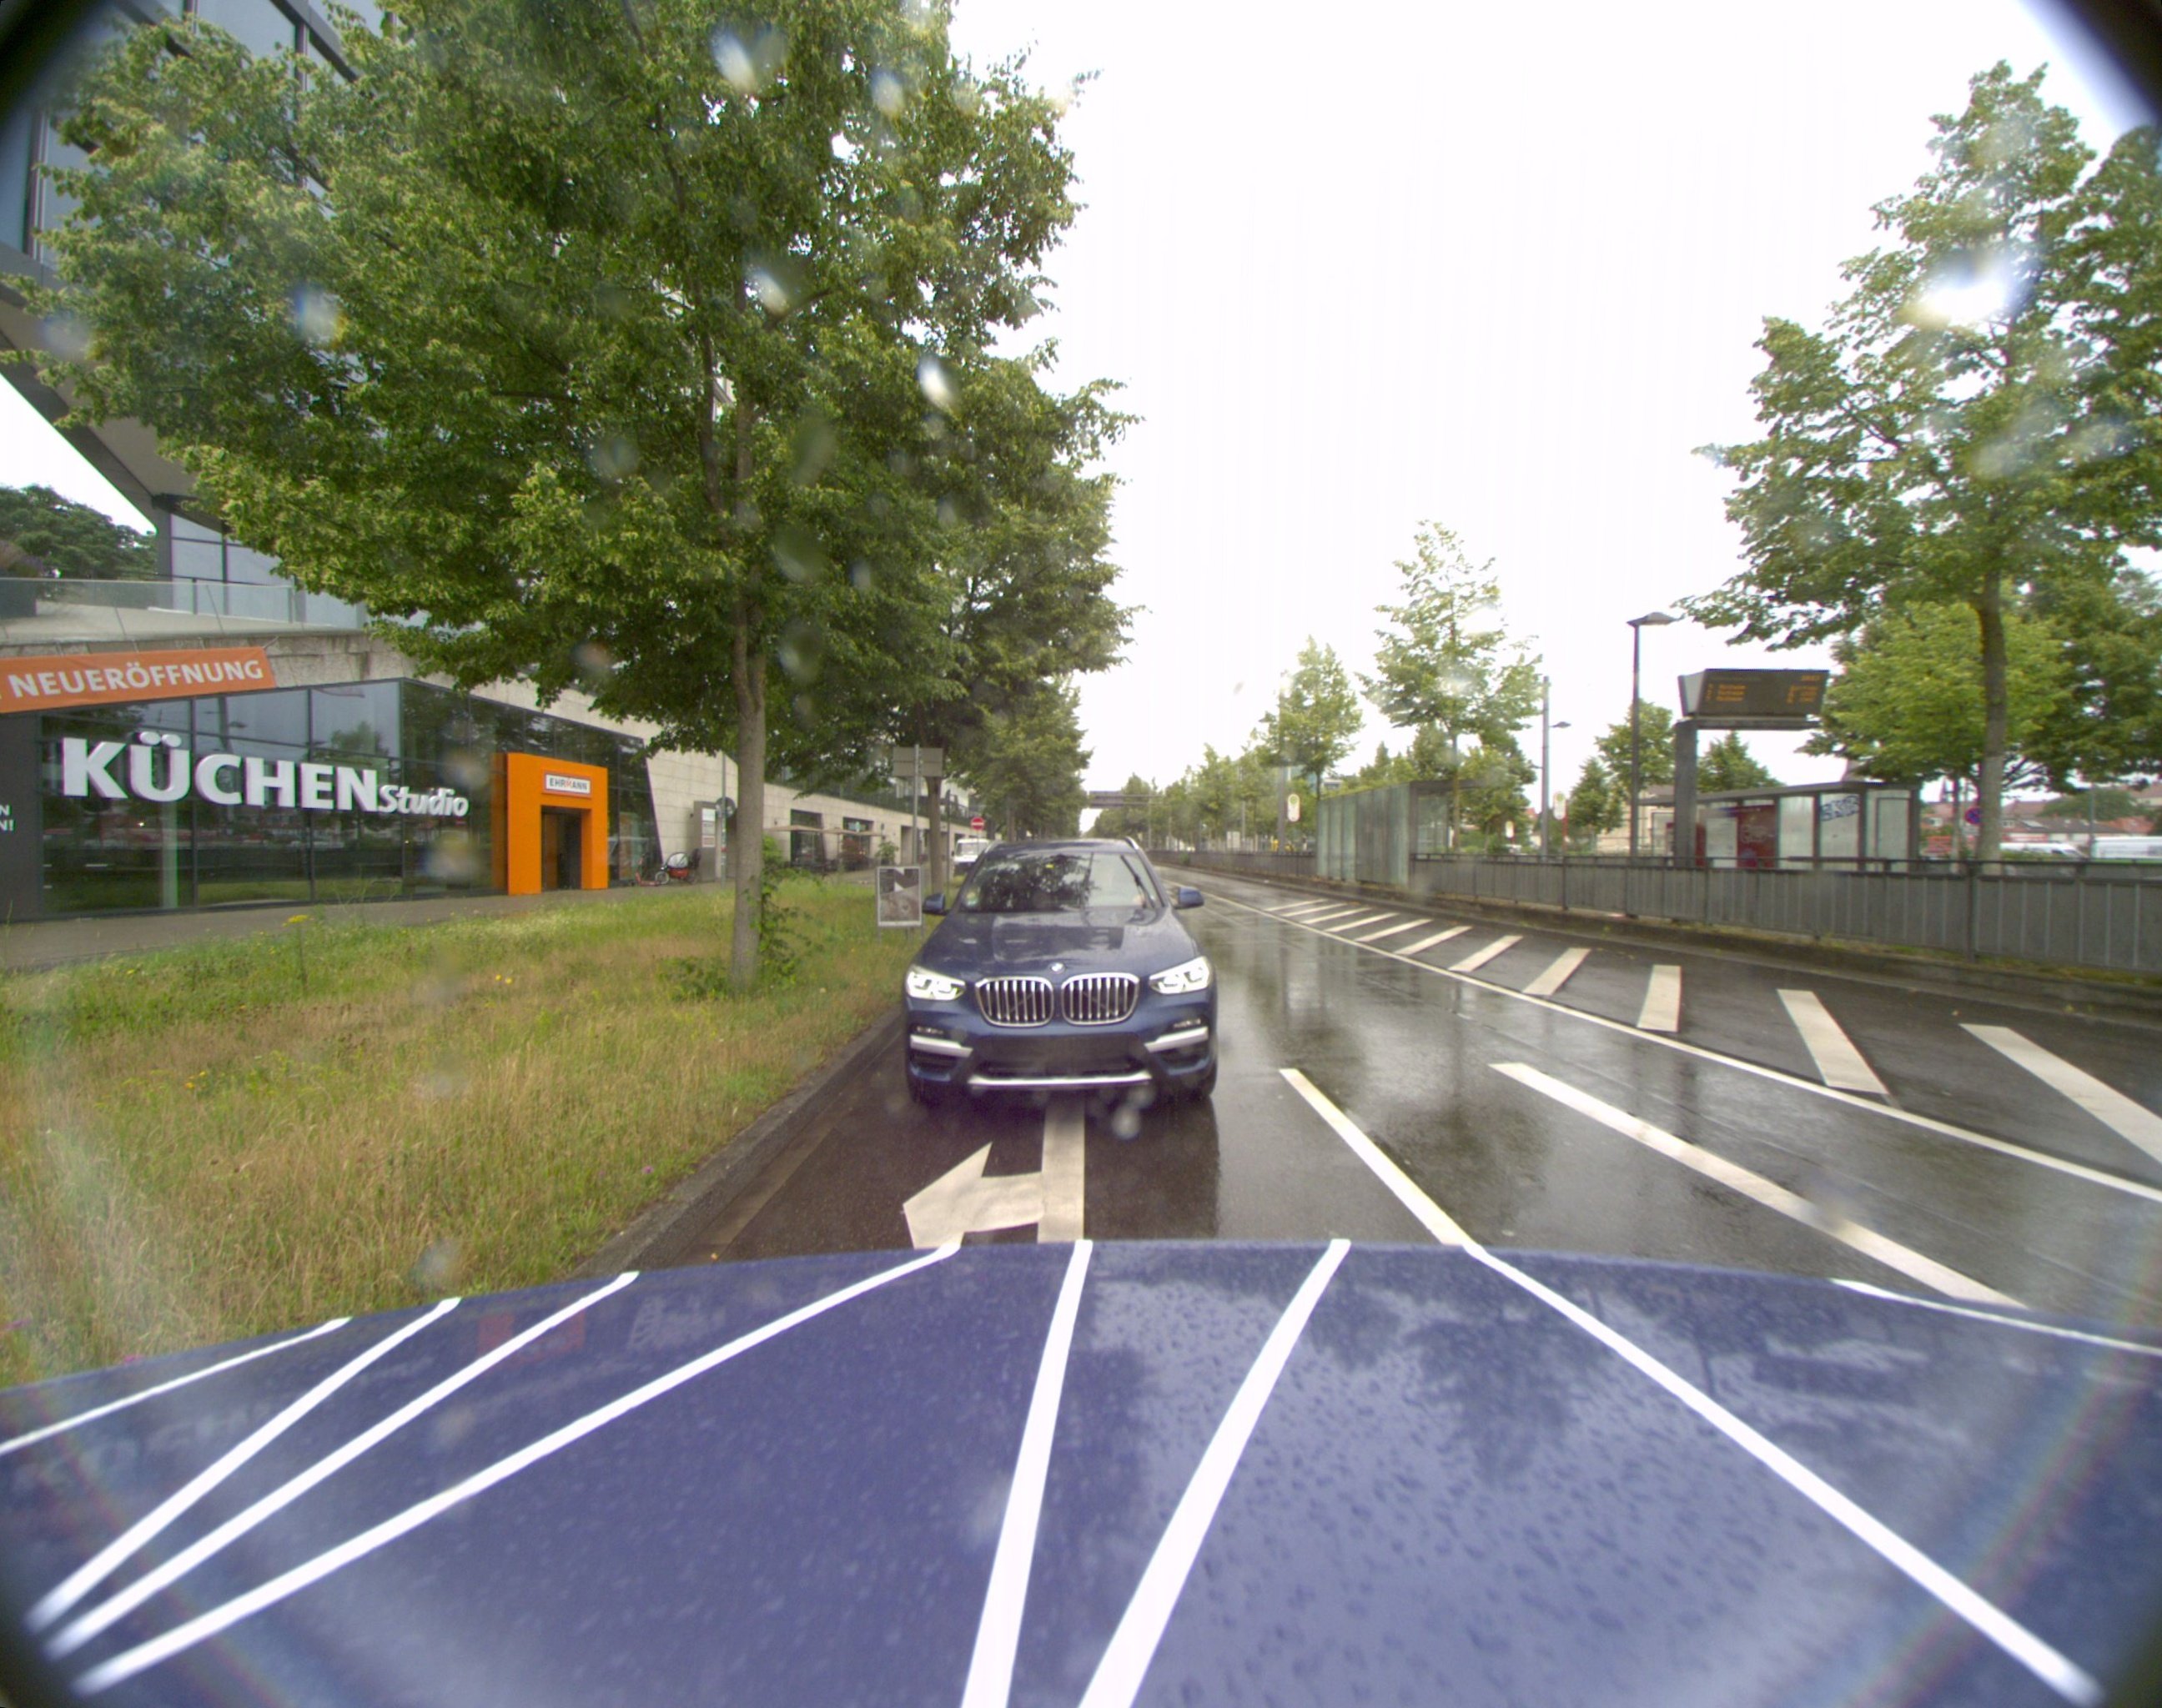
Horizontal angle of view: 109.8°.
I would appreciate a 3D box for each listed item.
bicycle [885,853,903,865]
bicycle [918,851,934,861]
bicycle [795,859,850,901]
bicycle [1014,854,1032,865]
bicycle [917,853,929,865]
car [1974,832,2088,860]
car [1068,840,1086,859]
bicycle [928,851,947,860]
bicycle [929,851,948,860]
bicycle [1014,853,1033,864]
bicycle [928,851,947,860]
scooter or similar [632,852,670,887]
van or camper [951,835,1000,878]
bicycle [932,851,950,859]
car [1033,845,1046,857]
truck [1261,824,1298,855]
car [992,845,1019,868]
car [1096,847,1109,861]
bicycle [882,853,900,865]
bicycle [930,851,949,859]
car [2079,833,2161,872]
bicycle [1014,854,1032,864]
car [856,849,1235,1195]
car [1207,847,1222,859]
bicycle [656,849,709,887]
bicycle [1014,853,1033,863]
[{"bbox_3d":[-15.245,0.379,62.063,0.396,0.940,2.024,-4,2,-45],"label":"bicycle"},{"bbox_3d":[-16.216,0.200,79.647,1.657,0.940,0.347,1,2,19],"label":"bicycle"},{"bbox_3d":[-8.607,0.865,25.274,1.843,1.338,0.533,-1,0,26],"label":"bicycle"},{"bbox_3d":[-5.574,0.504,73.022,1.699,0.940,0.395,-2,2,-4],"label":"bicycle"},{"bbox_3d":[-13.250,0.441,63.635,0.402,0.940,1.859,-1,1,8],"label":"bicycle"},{"bbox_3d":[84.253,-0.740,67.555,2.000,2.293,6.138,-3,1,-9],"label":"car"},{"bbox_3d":[-0.500,-0.578,91.765,1.998,2.232,3.999,-2,1,1],"label":"car"},{"bbox_3d":[-15.793,0.145,83.538,2.029,0.940,0.395,1,1,-4],"label":"bicycle"},{"bbox_3d":[-15.890,0.130,84.830,2.029,0.940,0.395,1,1,-4],"label":"bicycle"},{"bbox_3d":[-5.691,0.436,74.921,1.862,0.940,0.395,-2,2,-4],"label":"bicycle"},{"bbox_3d":[-15.872,0.137,84.247,2.029,0.940,0.395,1,1,-4],"label":"bicycle"},{"bbox_3d":[-15.666,0.564,27.699,0.342,1.221,1.242,-2,2,19],"label":"scooter or similar"},{"bbox_3d":[-5.920,0.102,43.381,2.030,2.279,5.458,-1,1,0],"label":"van or camper"},{"bbox_3d":[-15.977,0.102,86.656,2.029,0.940,0.395,1,1,-4],"label":"bicycle"},{"bbox_3d":[-6.021,-0.453,111.475,1.659,1.711,3.999,-2,1,0],"label":"car"},{"bbox_3d":[25.633,-1.858,98.408,2.693,3.756,9.182,-2,1,3],"label":"truck"},{"bbox_3d":[-6.116,0.167,62.238,1.746,1.749,4.847,-1,1,0],"label":"car"},{"bbox_3d":[3.558,-0.029,128.162,1.998,2.232,3.999,-2,1,1],"label":"car"},{"bbox_3d":[-15.374,0.398,61.326,0.396,0.940,2.024,-4,2,-45],"label":"bicycle"},{"bbox_3d":[-15.905,0.111,85.408,2.029,0.940,0.395,1,1,-4],"label":"bicycle"},{"bbox_3d":[70.143,-0.103,49.199,1.999,2.448,6.744,-2,1,-4],"label":"car"},{"bbox_3d":[-5.612,0.472,73.647,1.649,0.940,0.395,-2,2,-4],"label":"bicycle"},{"bbox_3d":[-0.144,0.827,5.767,1.816,1.603,3.999,-2,1,1],"label":"car"},{"bbox_3d":[22.784,-0.163,130.031,1.761,2.002,3.999,0,1,-3],"label":"car"},{"bbox_3d":[-15.426,0.523,29.490,0.734,1.394,2.425,1,0,1],"label":"bicycle"},{"bbox_3d":[-5.735,0.425,75.481,1.882,0.940,0.395,-2,2,-4],"label":"bicycle"}]
